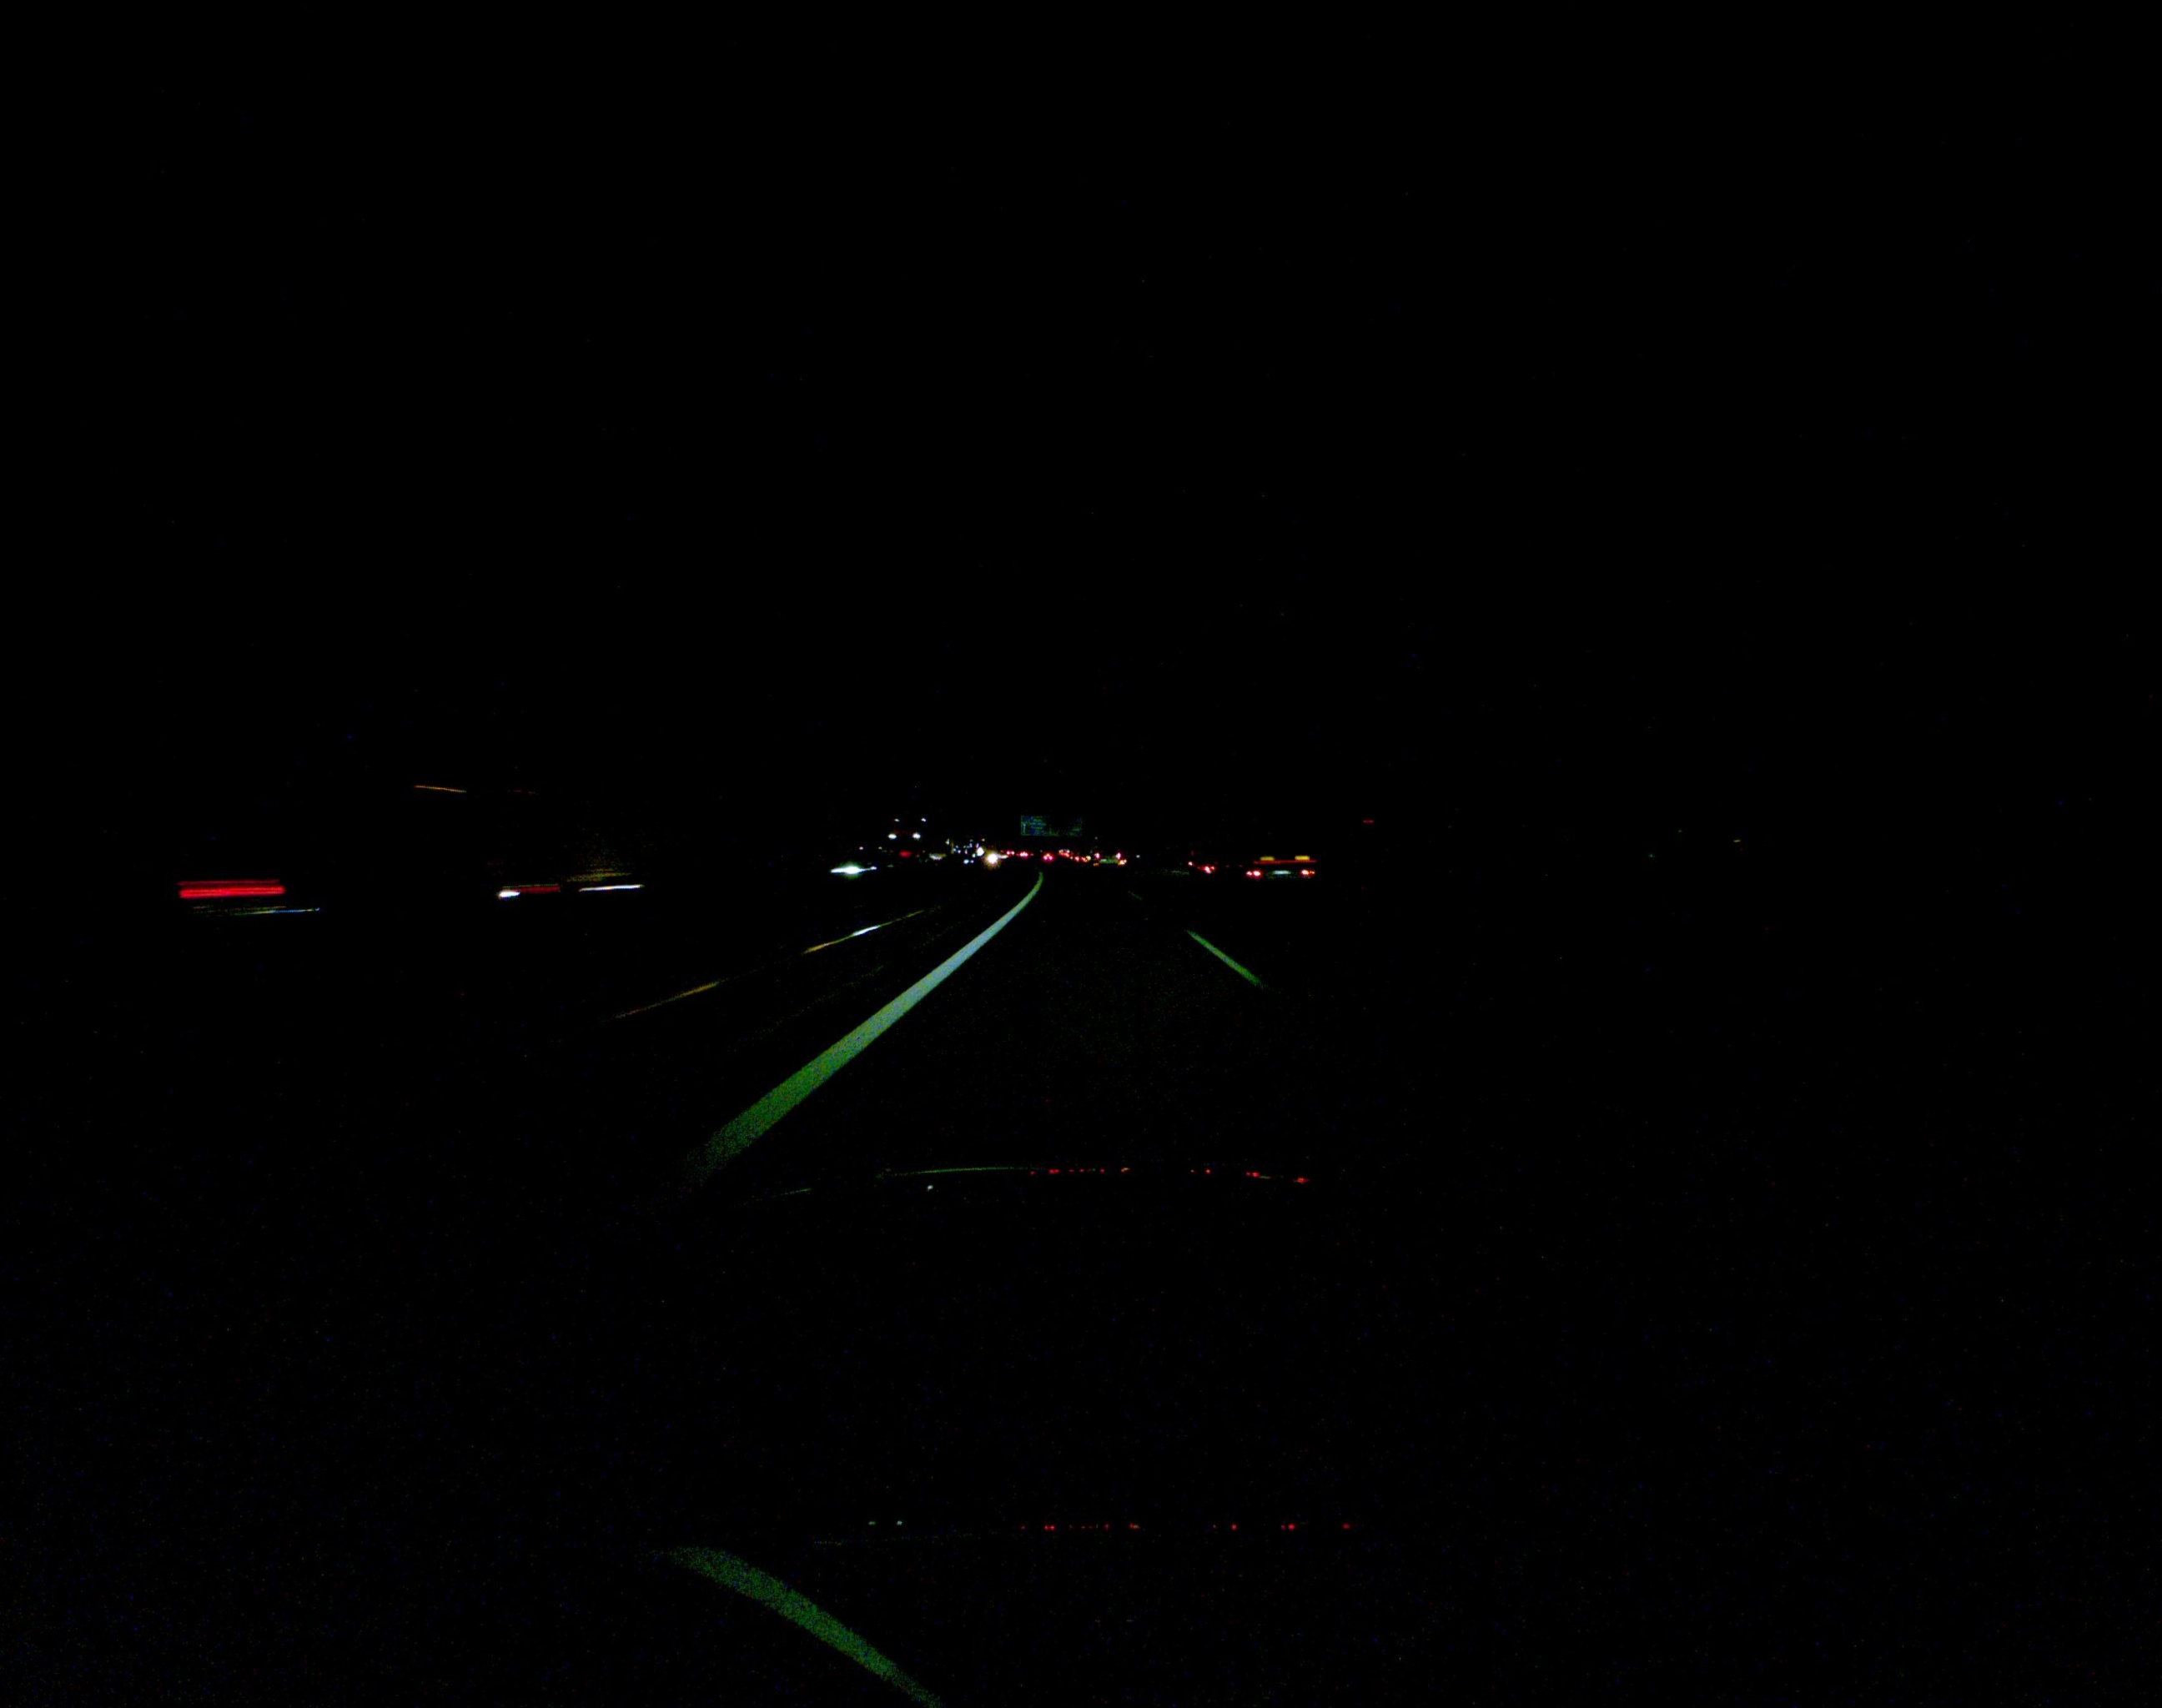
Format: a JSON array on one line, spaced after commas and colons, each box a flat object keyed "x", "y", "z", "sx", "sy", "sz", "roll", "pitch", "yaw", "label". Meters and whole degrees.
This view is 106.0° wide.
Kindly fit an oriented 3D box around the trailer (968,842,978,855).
[{"x": -34.008, "y": -1.584, "z": 255.708, "sx": 2.883, "sy": 3.672, "sz": 12.182, "roll": 3, "pitch": -1, "yaw": -8, "label": "trailer"}]

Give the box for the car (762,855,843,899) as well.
[{"x": -11.881, "y": 0.915, "z": 35.132, "sx": 1.942, "sy": 1.736, "sz": 4.745, "roll": -1, "pitch": 0, "yaw": -1, "label": "car"}]

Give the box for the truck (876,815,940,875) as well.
[{"x": -12.938, "y": -0.541, "z": 61.636, "sx": 3.099, "sy": 4.097, "sz": 7.073, "roll": 3, "pitch": -1, "yaw": 0, "label": "truck"}]

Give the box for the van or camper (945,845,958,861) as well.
[{"x": -26.987, "y": -0.239, "z": 169.764, "sx": 2.430, "sy": 3.272, "sz": 7.376, "roll": 1, "pitch": 0, "yaw": -7, "label": "van or camper"}]

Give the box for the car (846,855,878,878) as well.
[{"x": -16.558, "y": 0.903, "z": 61.757, "sx": 1.212, "sy": 1.596, "sz": 4.512, "roll": -1, "pitch": 0, "yaw": 0, "label": "car"}]

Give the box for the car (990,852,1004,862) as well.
[{"x": -11.649, "y": 0.443, "z": 112.840, "sx": 1.566, "sy": 1.354, "sz": 3.997, "roll": 1, "pitch": 0, "yaw": -2, "label": "car"}]

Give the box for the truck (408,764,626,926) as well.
[{"x": -15.203, "y": -0.251, "z": 22.456, "sx": 2.824, "sy": 3.916, "sz": 4.925, "roll": -1, "pitch": 0, "yaw": -6, "label": "truck"}]

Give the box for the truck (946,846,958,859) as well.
[{"x": -30.413, "y": -0.362, "z": 192.449, "sx": 2.553, "sy": 2.986, "sz": 7.434, "roll": 1, "pitch": -1, "yaw": -7, "label": "truck"}]

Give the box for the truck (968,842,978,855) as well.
[{"x": -33.154, "y": -1.532, "z": 249.432, "sx": 2.872, "sy": 3.674, "sz": 6.761, "roll": 3, "pitch": -1, "yaw": -7, "label": "truck"}]

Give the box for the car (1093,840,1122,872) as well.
[{"x": 2.235, "y": 0.215, "z": 70.789, "sx": 2.330, "sy": 2.640, "sz": 5.246, "roll": 1, "pitch": -2, "yaw": 0, "label": "car"}]

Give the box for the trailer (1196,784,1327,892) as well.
[{"x": 7.790, "y": -0.616, "z": 37.598, "sx": 2.846, "sy": 4.067, "sz": 13.198, "roll": -1, "pitch": 0, "yaw": -1, "label": "trailer"}]

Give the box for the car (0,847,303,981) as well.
[{"x": -15.505, "y": 0.826, "z": 12.981, "sx": 1.986, "sy": 1.810, "sz": 4.320, "roll": -1, "pitch": 0, "yaw": 1, "label": "car"}]

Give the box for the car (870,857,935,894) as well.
[{"x": -7.622, "y": 0.882, "z": 35.213, "sx": 1.907, "sy": 1.443, "sz": 4.647, "roll": -1, "pitch": 0, "yaw": -1, "label": "car"}]

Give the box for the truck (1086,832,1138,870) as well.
[{"x": 3.864, "y": -0.176, "z": 110.568, "sx": 3.910, "sy": 4.627, "sz": 20.969, "roll": -1, "pitch": -1, "yaw": -6, "label": "truck"}]

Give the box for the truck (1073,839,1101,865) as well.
[{"x": 1.056, "y": -0.342, "z": 150.549, "sx": 3.340, "sy": 4.476, "sz": 13.878, "roll": 2, "pitch": 0, "yaw": -6, "label": "truck"}]

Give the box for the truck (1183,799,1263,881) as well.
[{"x": 7.605, "y": -0.686, "z": 44.527, "sx": 2.854, "sy": 4.077, "sz": 7.505, "roll": -1, "pitch": 0, "yaw": -2, "label": "truck"}]

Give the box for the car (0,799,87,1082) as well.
[{"x": -8.396, "y": 0.602, "z": 3.604, "sx": 1.868, "sy": 1.923, "sz": 4.871, "roll": -1, "pitch": 0, "yaw": 3, "label": "car"}]

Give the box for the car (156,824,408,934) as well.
[{"x": -19.554, "y": 0.542, "z": 20.295, "sx": 1.989, "sy": 2.399, "sz": 4.506, "roll": -1, "pitch": 0, "yaw": -4, "label": "car"}]

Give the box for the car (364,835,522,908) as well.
[{"x": -19.873, "y": 0.516, "z": 25.662, "sx": 1.711, "sy": 2.079, "sz": 4.504, "roll": -1, "pitch": 0, "yaw": -5, "label": "car"}]

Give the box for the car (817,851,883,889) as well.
[{"x": -12.050, "y": 0.799, "z": 42.763, "sx": 1.986, "sy": 1.810, "sz": 4.749, "roll": -1, "pitch": 0, "yaw": 1, "label": "car"}]

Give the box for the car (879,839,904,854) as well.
[{"x": -19.082, "y": -0.775, "z": 82.179, "sx": 1.648, "sy": 1.477, "sz": 3.773, "roll": -1, "pitch": 0, "yaw": 0, "label": "car"}]

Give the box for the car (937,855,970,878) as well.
[{"x": -8.547, "y": 0.830, "z": 54.726, "sx": 1.699, "sy": 1.426, "sz": 4.507, "roll": -1, "pitch": 0, "yaw": -3, "label": "car"}]

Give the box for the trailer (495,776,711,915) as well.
[{"x": -15.708, "y": -0.277, "z": 27.770, "sx": 2.816, "sy": 3.917, "sz": 8.723, "roll": -1, "pitch": 0, "yaw": -5, "label": "trailer"}]

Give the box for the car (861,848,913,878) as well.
[{"x": -12.527, "y": 0.568, "z": 52.972, "sx": 1.986, "sy": 1.810, "sz": 5.487, "roll": -1, "pitch": 0, "yaw": 1, "label": "car"}]

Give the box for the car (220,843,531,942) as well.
[{"x": -11.517, "y": 0.604, "z": 13.746, "sx": 1.623, "sy": 1.350, "sz": 4.000, "roll": 3, "pitch": -1, "yaw": 1, "label": "car"}]

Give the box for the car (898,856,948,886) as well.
[{"x": -8.630, "y": 0.908, "z": 44.844, "sx": 1.827, "sy": 1.553, "sz": 4.513, "roll": -1, "pitch": 0, "yaw": 1, "label": "car"}]

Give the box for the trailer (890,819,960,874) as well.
[{"x": -12.903, "y": -0.457, "z": 68.764, "sx": 3.080, "sy": 4.089, "sz": 12.448, "roll": 3, "pitch": -1, "yaw": 1, "label": "trailer"}]

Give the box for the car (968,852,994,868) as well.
[{"x": -9.157, "y": 0.543, "z": 74.818, "sx": 1.868, "sy": 1.426, "sz": 4.511, "roll": 1, "pitch": 0, "yaw": -1, "label": "car"}]

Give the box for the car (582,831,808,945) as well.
[{"x": -7.496, "y": 0.560, "z": 16.623, "sx": 1.869, "sy": 1.923, "sz": 5.604, "roll": 0, "pitch": 0, "yaw": 1, "label": "car"}]
